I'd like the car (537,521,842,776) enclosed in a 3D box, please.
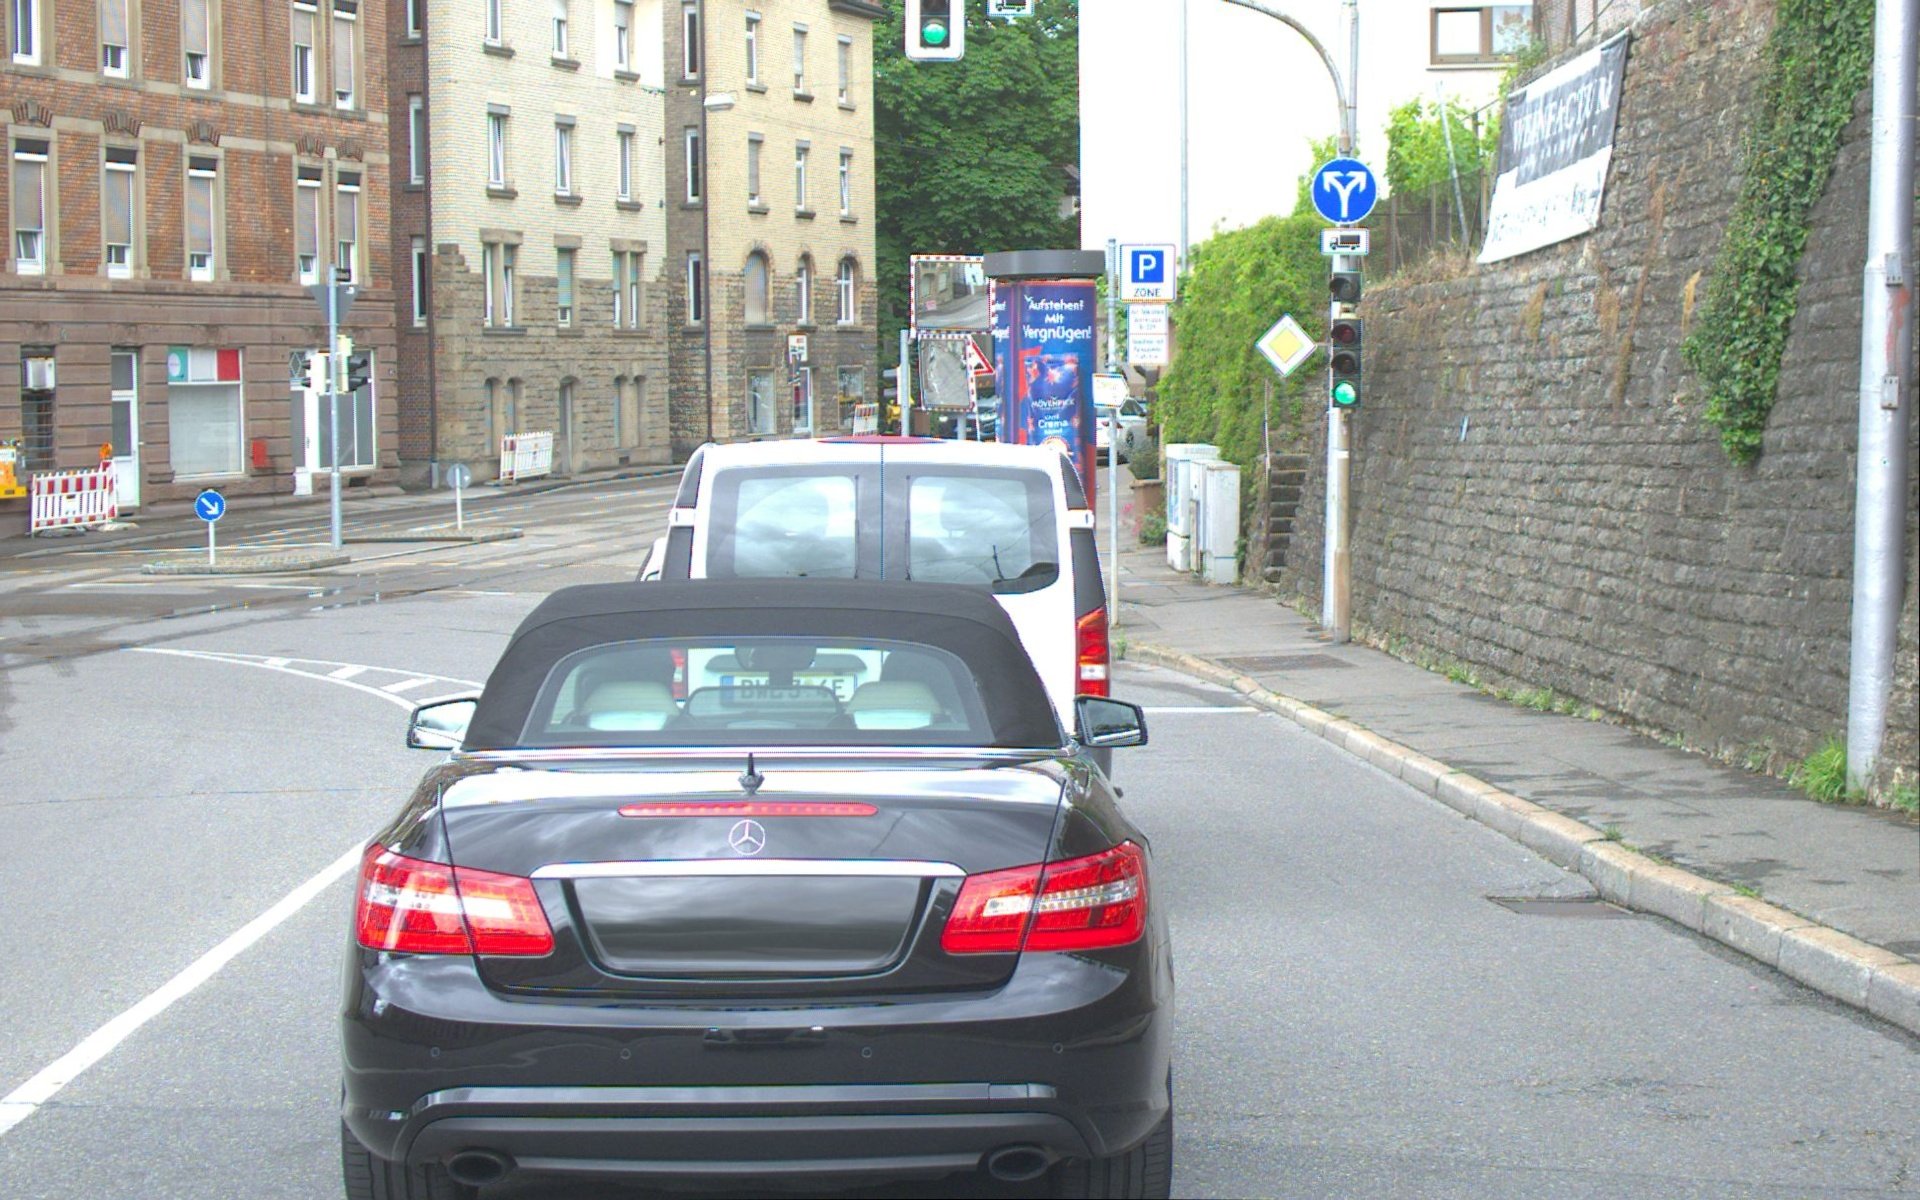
[{"bbox_3d":[-1.642,0.240,21.967,1.681,1.461,3.919,0,2,-1],"label":"car"}]

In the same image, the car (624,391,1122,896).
[{"bbox_3d":[-0.356,0.102,15.407,1.891,1.922,4.646,0,2,-1],"label":"car"}]

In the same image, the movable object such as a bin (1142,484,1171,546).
[{"bbox_3d":[2.876,-1.244,50.351,0.343,0.908,0.495,0,2,-6],"label":"movable object such as a bin"}]

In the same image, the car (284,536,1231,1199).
[{"bbox_3d":[-0.402,0.565,8.616,1.761,1.404,4.399,0,2,-1],"label":"car"}]

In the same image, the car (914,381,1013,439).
[{"bbox_3d":[0.132,-5.467,98.818,1.994,1.509,4.285,-1,5,12],"label":"car"}]
